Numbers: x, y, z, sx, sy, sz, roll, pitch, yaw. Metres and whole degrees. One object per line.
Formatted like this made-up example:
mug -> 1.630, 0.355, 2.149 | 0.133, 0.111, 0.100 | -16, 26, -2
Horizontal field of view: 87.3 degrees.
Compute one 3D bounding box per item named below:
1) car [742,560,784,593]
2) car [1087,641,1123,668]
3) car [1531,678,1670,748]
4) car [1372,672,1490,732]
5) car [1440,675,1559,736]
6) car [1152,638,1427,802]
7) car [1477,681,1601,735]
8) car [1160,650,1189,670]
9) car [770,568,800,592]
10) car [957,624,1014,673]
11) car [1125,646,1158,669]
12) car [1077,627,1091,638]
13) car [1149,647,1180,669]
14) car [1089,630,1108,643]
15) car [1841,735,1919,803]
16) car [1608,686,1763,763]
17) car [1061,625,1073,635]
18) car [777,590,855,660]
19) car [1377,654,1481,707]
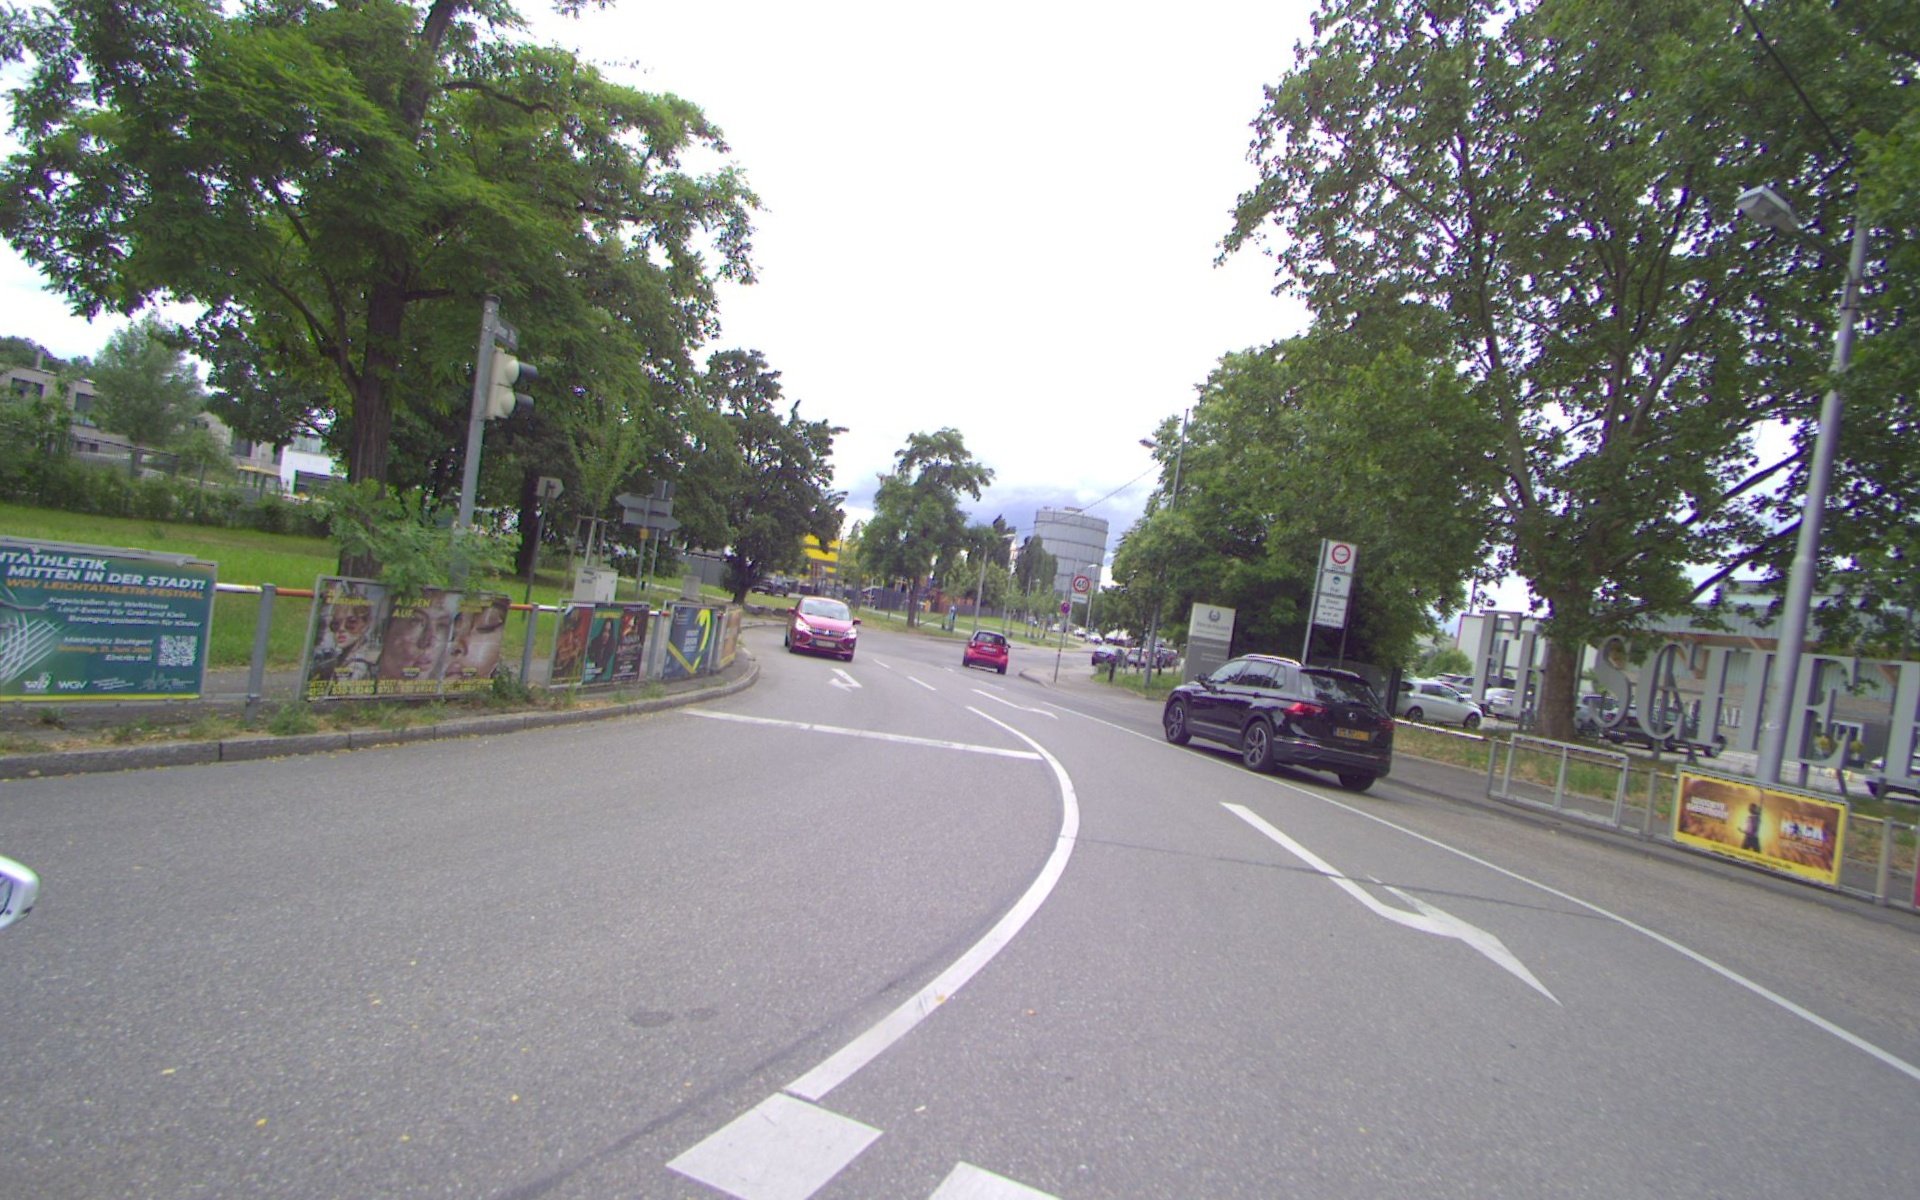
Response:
car -> -14.954, -1.753, 76.572 | 1.934, 2.037, 4.220 | 10, 0, 3
car -> 9.908, 3.724, 68.534 | 1.685, 1.507, 3.374 | 9, -1, 19
car -> 26.292, 4.622, 41.331 | 4.569, 2.038, 1.994 | 9, 0, -13
car -> 17.075, 3.687, 36.523 | 3.676, 1.523, 1.475 | 9, 0, -17
car -> 25.532, 4.998, 47.647 | 4.569, 2.038, 1.994 | 9, 0, -13
car -> 4.706, 1.659, 15.130 | 1.822, 1.654, 4.175 | 11, -1, -13
car -> 25.976, 4.824, 45.171 | 4.569, 1.577, 1.994 | 9, 0, -13
car -> 18.586, 5.217, 87.178 | 1.686, 1.423, 3.373 | 9, -1, 23
car -> -18.728, -2.135, 107.783 | 1.934, 2.037, 4.220 | 10, 0, 3
car -> 0.954, 1.875, 39.472 | 1.687, 1.482, 3.016 | 9, 0, -6
car -> 13.957, 4.411, 77.227 | 1.686, 1.423, 3.373 | 9, -1, 23
car -> 22.290, 5.826, 181.135 | 2.011, 1.553, 3.944 | 10, -1, 3
car -> 16.736, 4.739, 82.147 | 1.686, 1.423, 3.373 | 9, -1, 23
car -> 20.065, 5.313, 145.642 | 2.010, 1.555, 3.941 | 6, 0, -1
car -> 28.928, 5.225, 29.695 | 4.569, 1.580, 1.994 | 9, 0, -13
car -> 27.116, 4.647, 37.654 | 4.569, 2.038, 1.994 | 9, 0, -13
car -> 21.745, 6.131, 204.585 | 2.011, 1.553, 3.944 | 10, -1, 3
car -> -3.703, 0.604, 26.241 | 1.703, 1.483, 3.830 | 8, -1, -7
car -> 25.541, 4.360, 54.833 | 4.749, 2.038, 1.994 | 9, 0, -13
